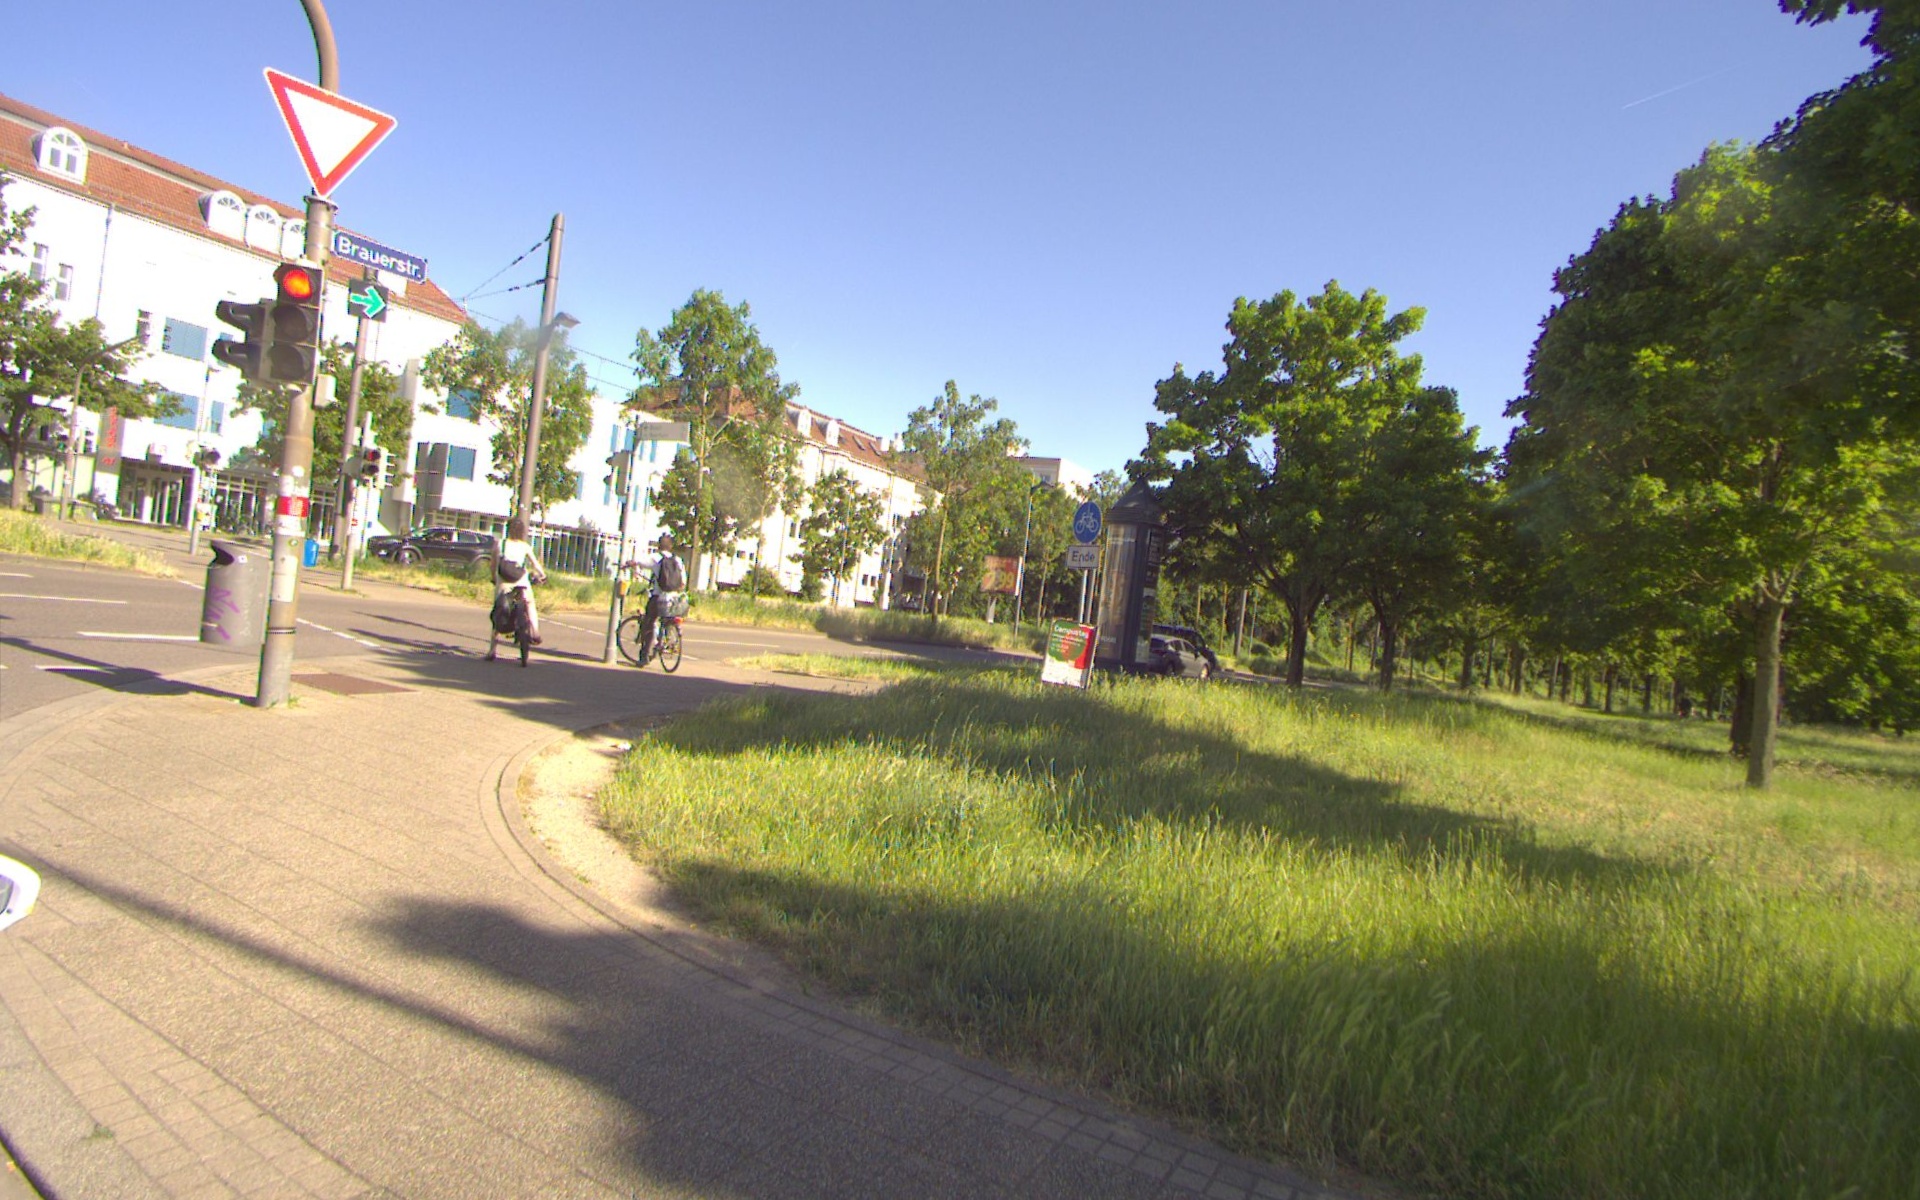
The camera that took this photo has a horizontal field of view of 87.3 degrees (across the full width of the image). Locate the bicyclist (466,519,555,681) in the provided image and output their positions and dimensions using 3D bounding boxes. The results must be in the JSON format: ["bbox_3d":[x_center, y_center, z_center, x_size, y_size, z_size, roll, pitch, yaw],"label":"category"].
[{"bbox_3d":[-5.569,-0.009,12.525,0.782,1.847,1.129,6,1,-22],"label":"bicyclist"}]

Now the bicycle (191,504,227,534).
[{"bbox_3d":[-34.938,-3.752,46.781,1.837,1.197,0.561,7,1,29],"label":"bicycle"}]

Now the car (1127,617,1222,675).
[{"bbox_3d":[8.980,1.942,41.871,1.740,1.820,4.482,6,-3,41],"label":"car"}]

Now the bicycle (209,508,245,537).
[{"bbox_3d":[-34.759,-3.685,47.716,1.837,1.197,0.561,7,1,29],"label":"bicycle"}]

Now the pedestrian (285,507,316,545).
[{"bbox_3d":[-33.595,-3.751,51.231,0.643,1.745,0.991,8,1,29],"label":"pedestrian"}]

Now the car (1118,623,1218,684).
[{"bbox_3d":[7.275,1.884,34.903,1.669,1.595,3.860,7,-3,39],"label":"car"}]

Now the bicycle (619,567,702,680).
[{"bbox_3d":[-4.249,0.277,14.145,0.782,1.364,2.251,7,0,-22],"label":"bicycle"}]

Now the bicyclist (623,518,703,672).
[{"bbox_3d":[-4.126,-0.079,13.932,0.782,1.984,1.005,6,1,-22],"label":"bicyclist"}]

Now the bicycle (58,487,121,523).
[{"bbox_3d":[-36.330,-3.965,42.015,0.552,1.197,1.868,7,0,26],"label":"bicycle"}]

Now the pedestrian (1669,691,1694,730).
[{"bbox_3d":[34.423,5.257,48.015,0.727,1.748,0.887,8,1,33],"label":"pedestrian"}]

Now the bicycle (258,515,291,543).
[{"bbox_3d":[-33.487,-3.473,49.139,1.838,1.197,0.561,7,1,32],"label":"bicycle"}]

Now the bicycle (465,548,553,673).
[{"bbox_3d":[-5.589,0.086,12.562,0.782,1.364,2.068,7,0,-22],"label":"bicycle"}]

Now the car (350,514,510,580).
[{"bbox_3d":[-18.663,-1.836,35.616,1.971,1.629,4.498,7,0,39],"label":"car"}]
